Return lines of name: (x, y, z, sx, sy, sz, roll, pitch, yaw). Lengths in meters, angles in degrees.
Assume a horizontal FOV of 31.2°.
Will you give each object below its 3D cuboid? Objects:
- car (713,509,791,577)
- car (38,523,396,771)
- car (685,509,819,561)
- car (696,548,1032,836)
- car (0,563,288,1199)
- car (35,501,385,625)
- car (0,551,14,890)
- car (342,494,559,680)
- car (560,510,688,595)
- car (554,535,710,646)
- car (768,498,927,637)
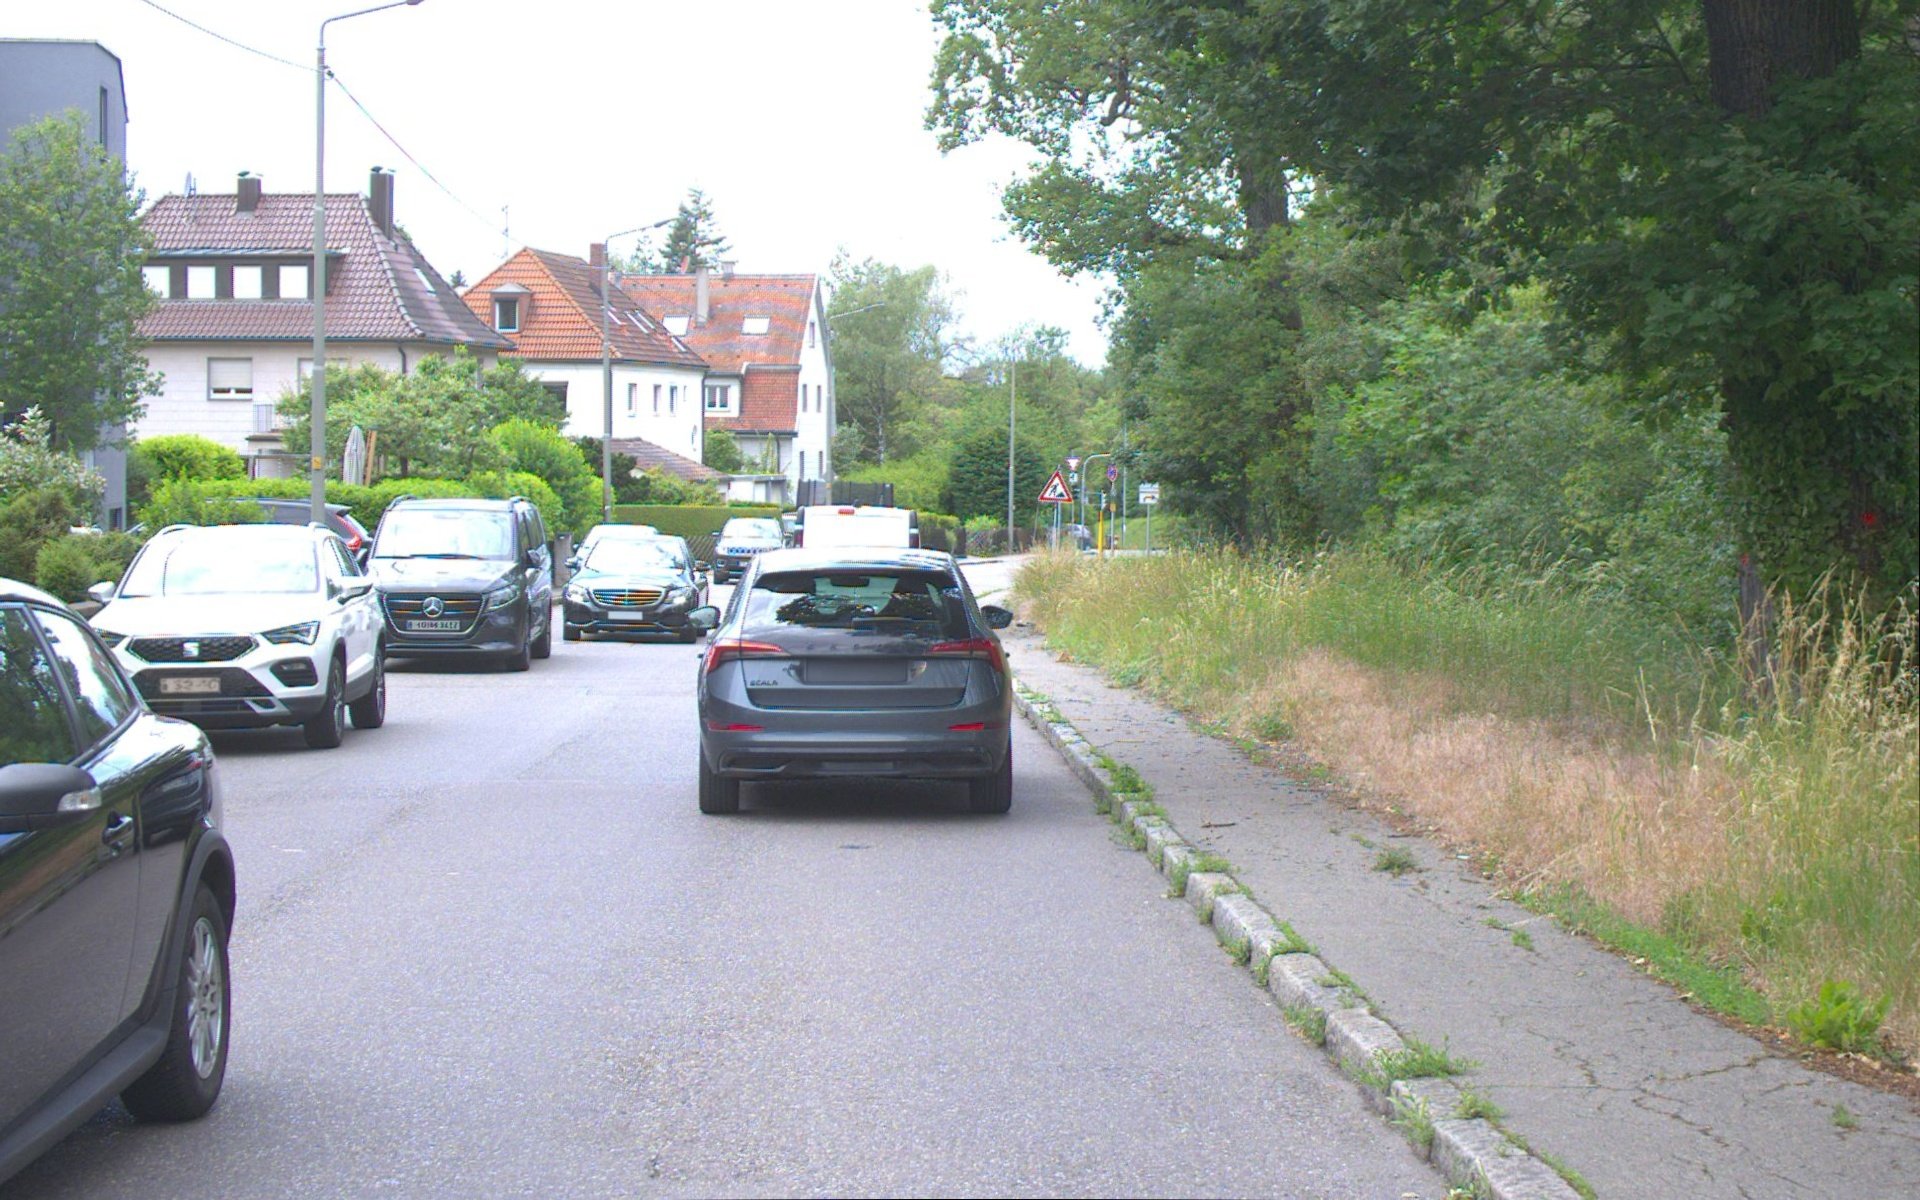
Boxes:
car: (-5.181, -1.444, 85.898, 1.833, 1.591, 4.324, 1, 2, -2)
car: (-5.377, 0.275, 25.396, 1.838, 1.643, 4.186, -1, 1, -2)
car: (-6.645, -2.100, 110.164, 3.988, 1.612, 2.000, 1, 1, 7)
car: (-0.666, 0.453, 20.172, 1.727, 1.434, 4.324, 1, 1, -4)
car: (-2.772, 0.667, 7.494, 1.763, 1.441, 4.474, 0, 1, 0)
car: (-10.578, -0.530, 48.762, 4.615, 1.691, 2.000, 0, 1, -5)
car: (-5.067, 0.598, 13.142, 1.763, 1.494, 4.474, -1, 1, -2)
car: (-5.674, -0.189, 38.836, 1.863, 1.919, 5.039, 2, 1, -2)
car: (-6.226, -0.893, 64.081, 1.783, 1.495, 4.014, 2, 1, 3)
car: (-4.487, -0.169, 47.564, 1.863, 1.409, 4.593, 2, 1, -2)
car: (-1.727, -0.519, 51.182, 2.071, 1.915, 4.923, 1, 1, -5)
